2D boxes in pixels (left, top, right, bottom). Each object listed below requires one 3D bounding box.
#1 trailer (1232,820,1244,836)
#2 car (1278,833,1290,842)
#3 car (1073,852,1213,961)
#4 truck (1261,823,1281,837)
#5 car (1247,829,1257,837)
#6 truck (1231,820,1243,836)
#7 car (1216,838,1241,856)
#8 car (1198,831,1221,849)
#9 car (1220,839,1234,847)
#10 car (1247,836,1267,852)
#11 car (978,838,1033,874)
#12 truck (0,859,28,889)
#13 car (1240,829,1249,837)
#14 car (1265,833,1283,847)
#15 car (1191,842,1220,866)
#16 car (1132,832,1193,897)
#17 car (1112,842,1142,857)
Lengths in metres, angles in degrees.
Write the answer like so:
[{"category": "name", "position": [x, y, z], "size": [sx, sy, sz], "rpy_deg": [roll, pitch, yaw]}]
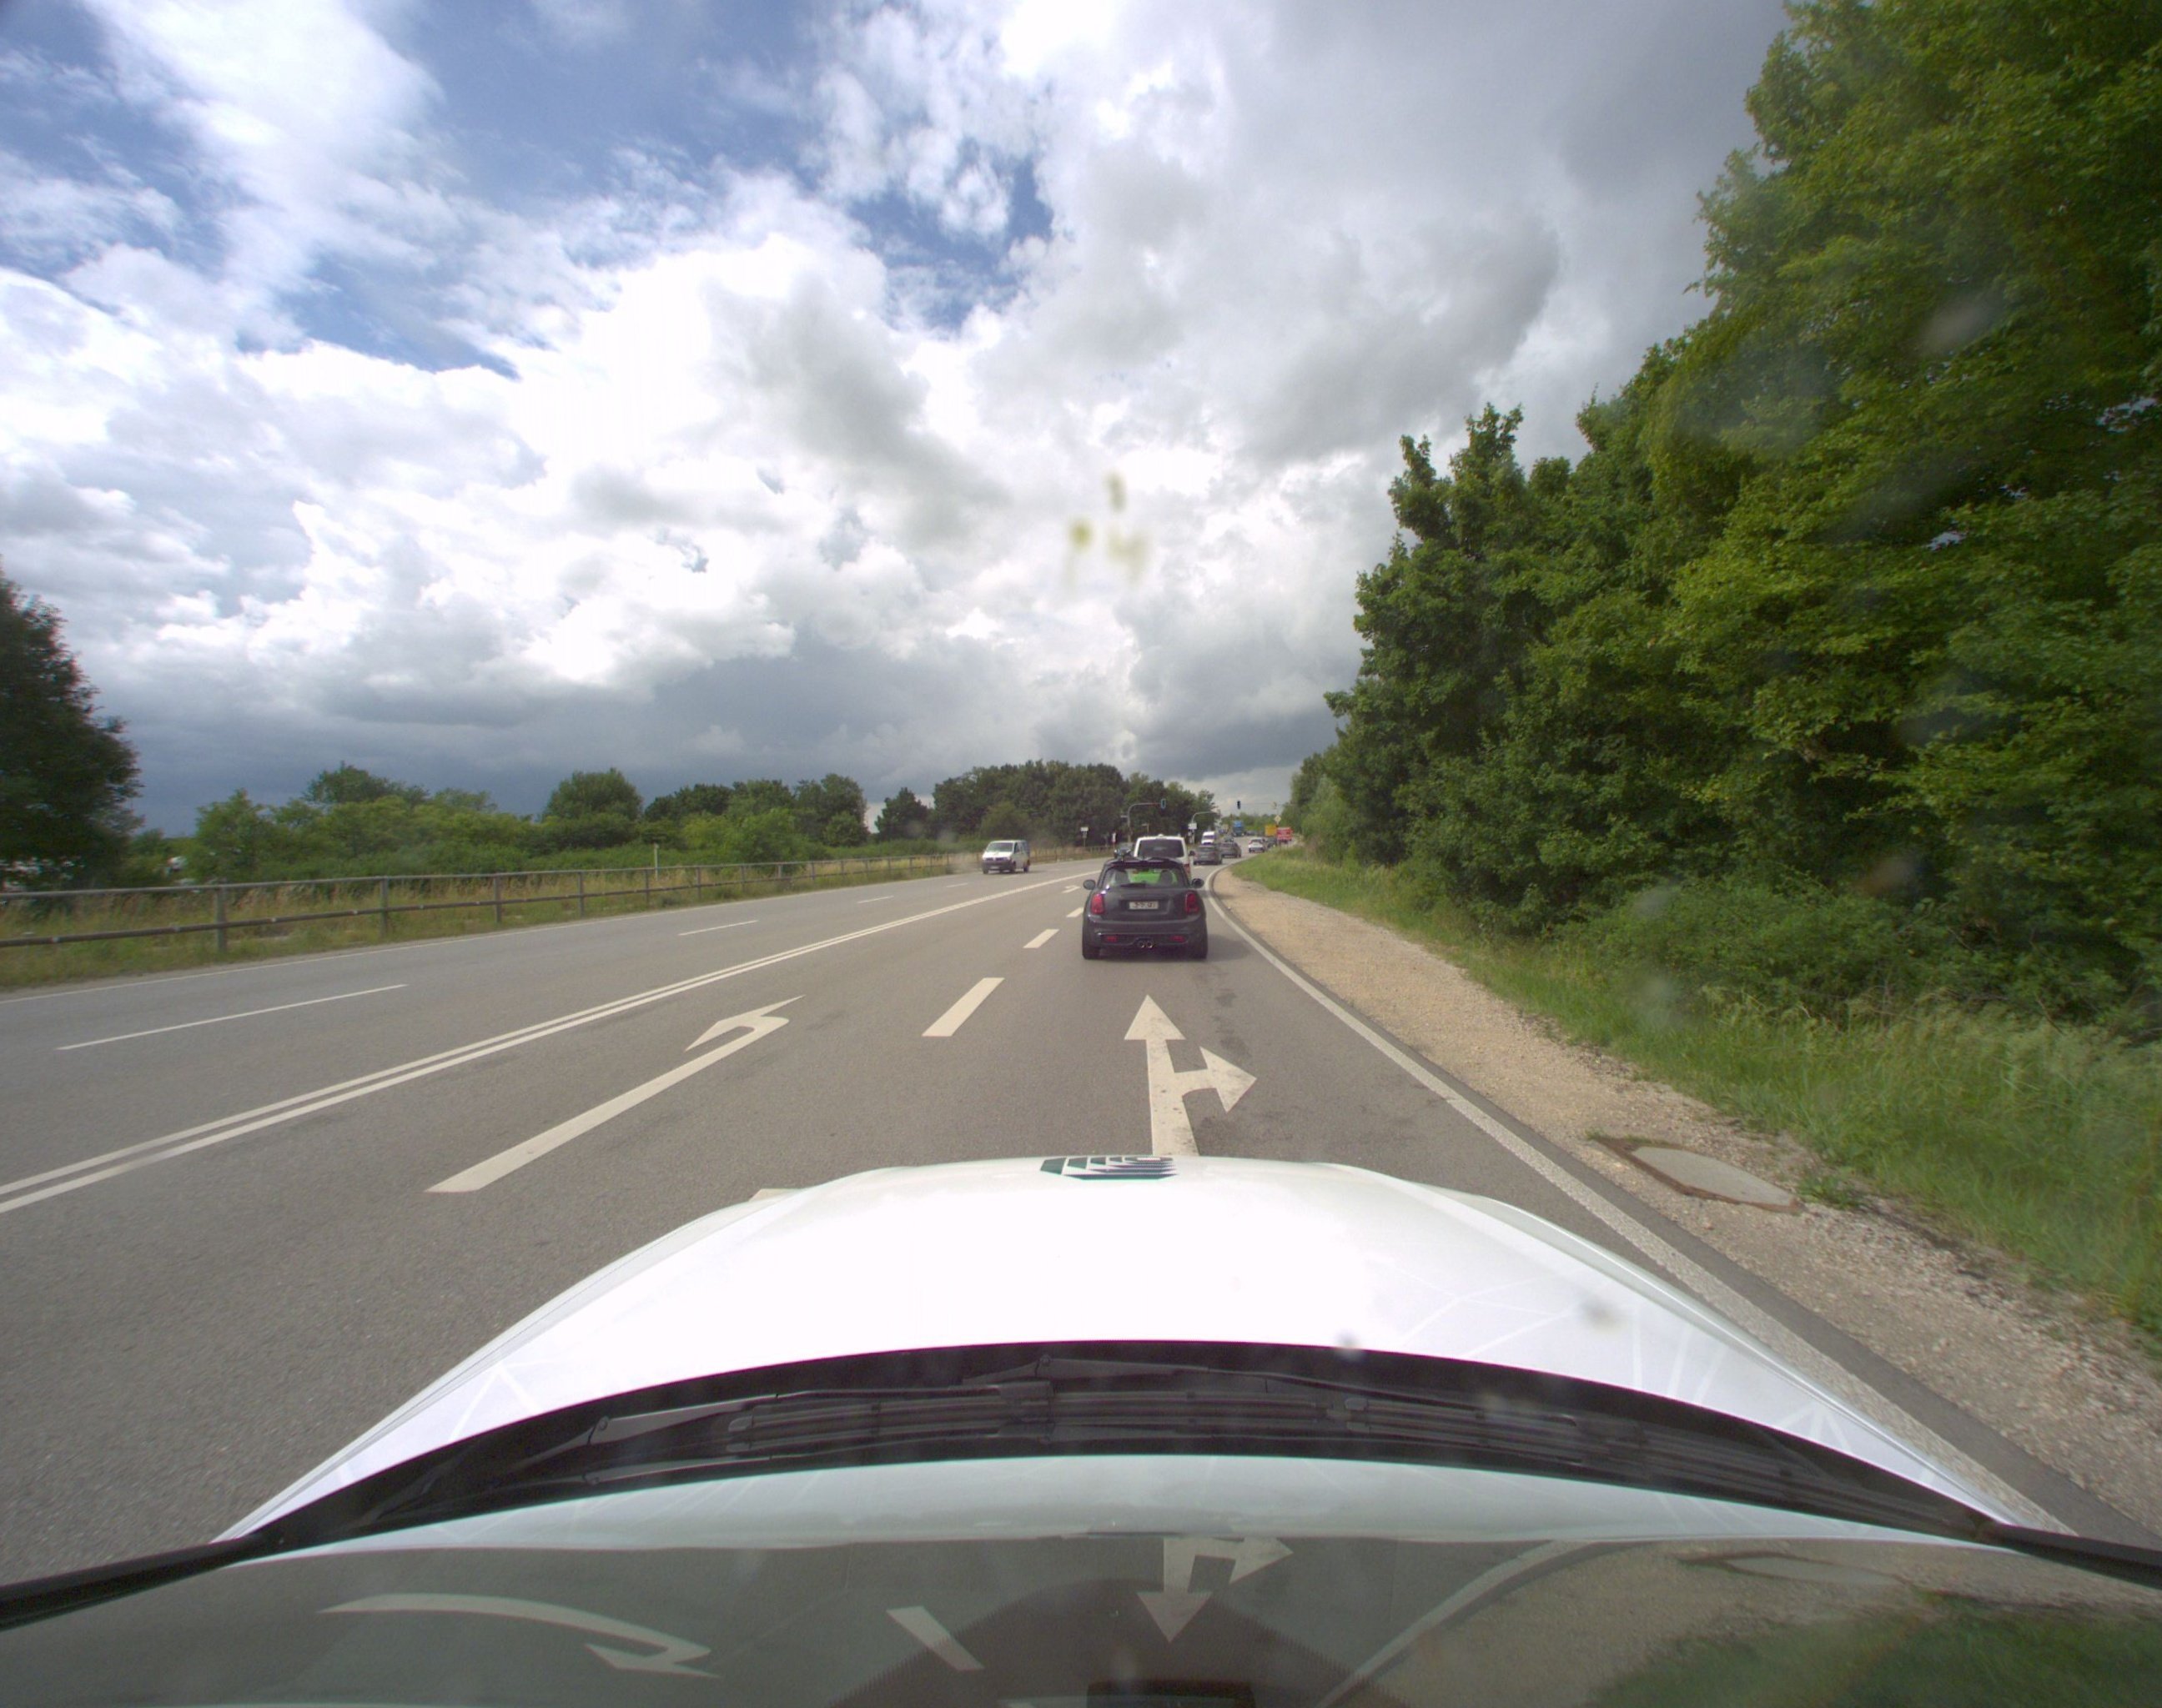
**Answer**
[{"category": "trailer", "position": [40.606, -6.719, 210.316], "size": [2.508, 4.100, 6.763], "rpy_deg": [-1, 1, 15]}, {"category": "car", "position": [35.836, -2.900, 143.735], "size": [1.980, 1.695, 4.500], "rpy_deg": [0, 0, 12]}, {"category": "car", "position": [1.003, 0.696, 12.687], "size": [1.836, 1.428, 3.847], "rpy_deg": [-1, 0, 5]}, {"category": "truck", "position": [42.487, -5.318, 182.300], "size": [2.705, 2.897, 8.780], "rpy_deg": [-1, 1, 3]}, {"category": "car", "position": [45.079, -5.532, 214.635], "size": [2.170, 2.014, 4.005], "rpy_deg": [-1, -1, 4]}, {"category": "truck", "position": [39.735, -6.640, 207.093], "size": [2.521, 4.096, 4.017], "rpy_deg": [-1, 1, 16]}, {"category": "car", "position": [13.880, -0.625, 76.470], "size": [1.978, 1.684, 3.994], "rpy_deg": [0, 0, 16]}, {"category": "car", "position": [19.789, -2.191, 124.873], "size": [2.414, 2.674, 6.920], "rpy_deg": [-1, 1, 18]}, {"category": "car", "position": [29.112, -2.191, 162.569], "size": [1.929, 1.441, 4.022], "rpy_deg": [-1, 1, 23]}, {"category": "car", "position": [20.167, -1.106, 93.292], "size": [1.979, 1.684, 4.016], "rpy_deg": [0, 0, 15]}, {"category": "car", "position": [-4.470, 0.080, 48.843], "size": [1.981, 2.013, 4.682], "rpy_deg": [-1, 0, 11]}, {"category": "truck", "position": [-73.884, 1.360, 53.024], "size": [1.981, 2.014, 6.250], "rpy_deg": [-1, -1, 11]}, {"category": "car", "position": [46.849, -5.965, 233.339], "size": [1.985, 2.014, 4.003], "rpy_deg": [0, -1, 3]}, {"category": "car", "position": [25.878, -1.879, 109.225], "size": [1.978, 1.684, 4.018], "rpy_deg": [0, 0, 18]}, {"category": "car", "position": [9.177, 0.028, 59.966], "size": [1.982, 1.684, 4.010], "rpy_deg": [0, 0, 9]}, {"category": "car", "position": [2.675, 0.317, 26.939], "size": [1.836, 1.987, 3.846], "rpy_deg": [-1, 0, 5]}, {"category": "car", "position": [4.733, -0.495, 82.573], "size": [1.793, 1.441, 4.376], "rpy_deg": [-1, 1, 20]}]
